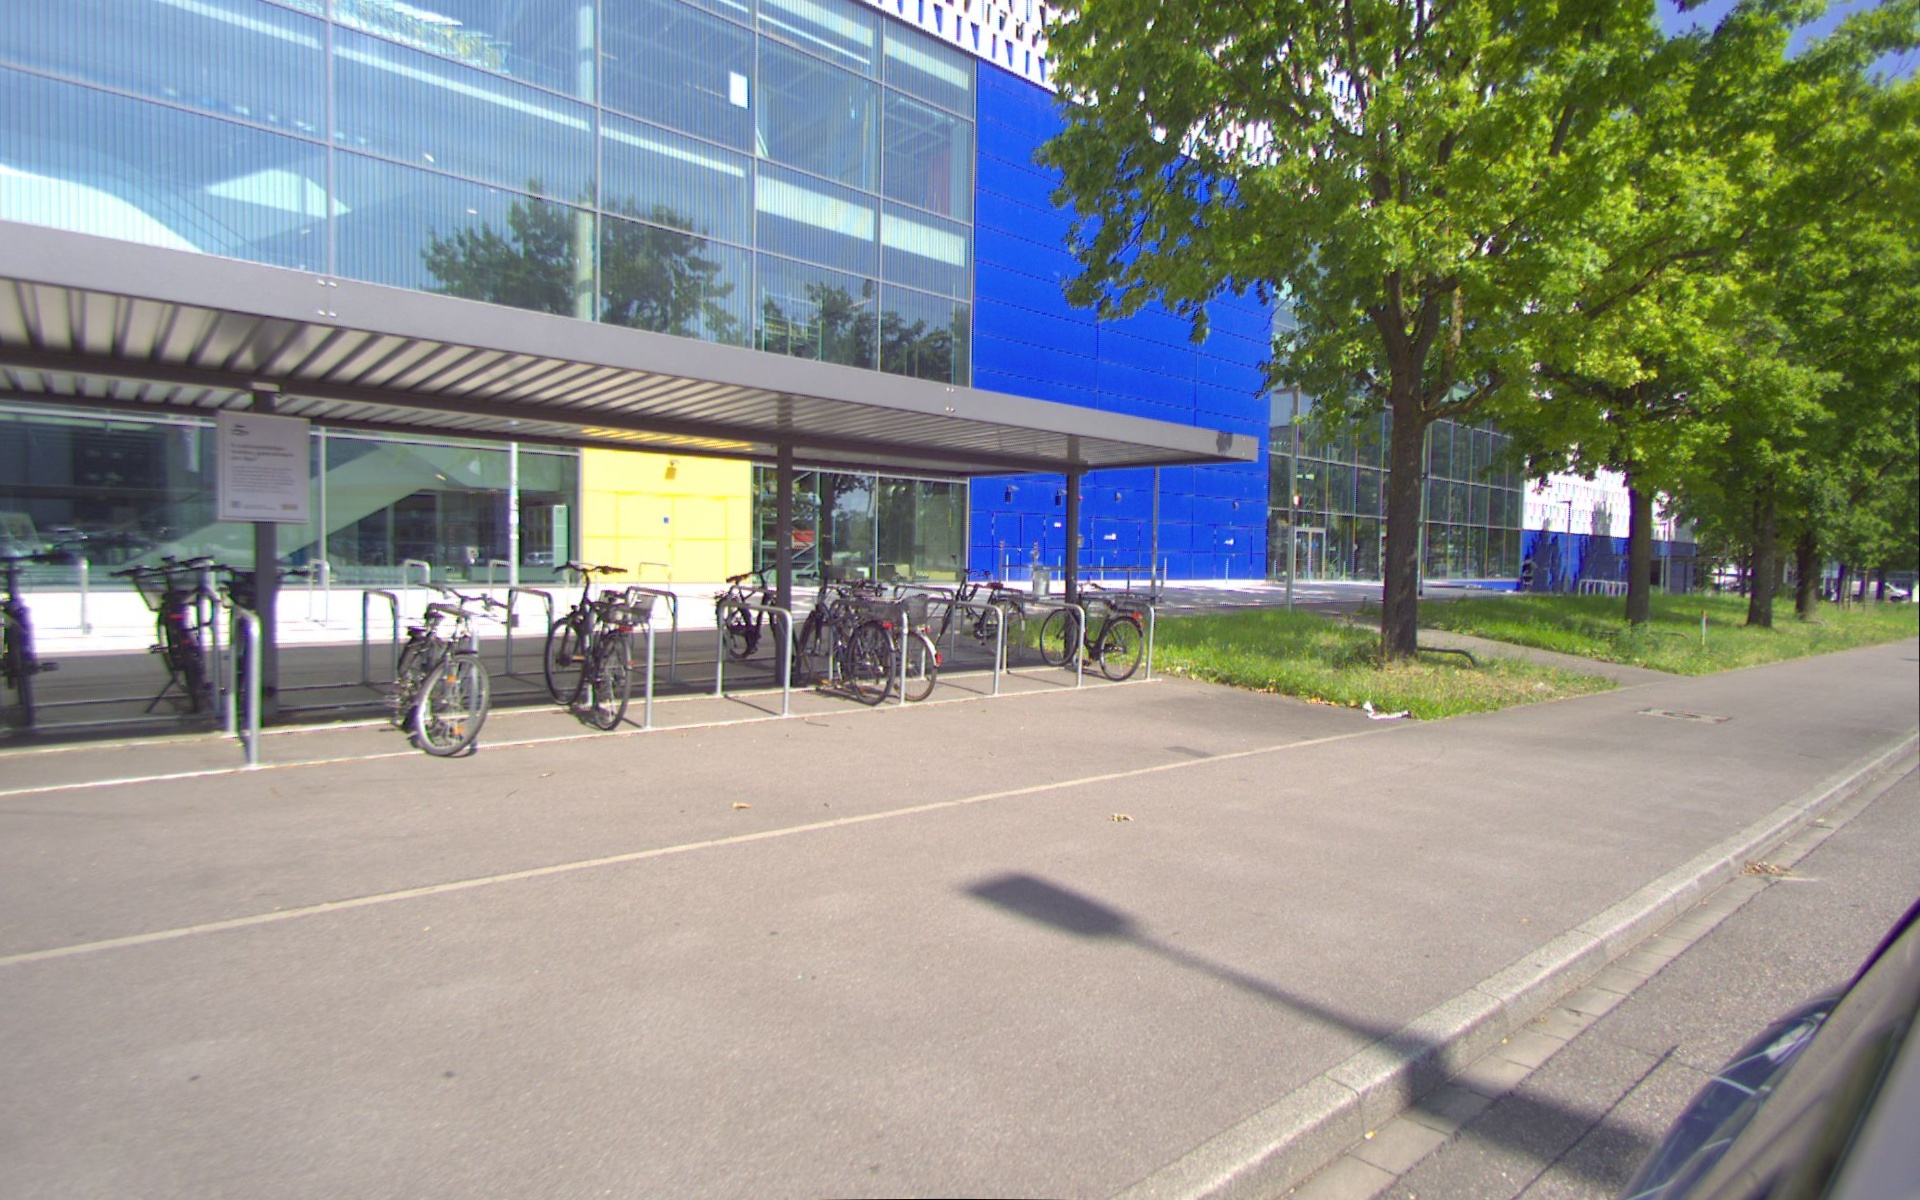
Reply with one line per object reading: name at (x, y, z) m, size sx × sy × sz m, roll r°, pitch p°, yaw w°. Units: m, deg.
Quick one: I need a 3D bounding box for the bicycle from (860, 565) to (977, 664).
bicycle at (-0.547, 0.148, 12.563) m, size 0.444 × 1.109 × 1.763 m, roll 0°, pitch 2°, yaw -39°

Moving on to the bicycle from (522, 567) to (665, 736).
bicycle at (-2.834, 0.328, 7.715) m, size 0.444 × 1.109 × 1.763 m, roll 0°, pitch 2°, yaw -39°

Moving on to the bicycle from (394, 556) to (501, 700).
bicycle at (-4.481, 0.193, 8.793) m, size 0.444 × 1.109 × 1.763 m, roll 0°, pitch 2°, yaw -39°

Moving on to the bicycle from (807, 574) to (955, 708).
bicycle at (-0.791, 0.336, 9.607) m, size 0.444 × 1.109 × 1.763 m, roll 0°, pitch 2°, yaw -39°

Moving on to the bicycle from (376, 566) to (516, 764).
bicycle at (-3.456, 0.359, 6.728) m, size 0.444 × 1.109 × 1.763 m, roll 0°, pitch 2°, yaw -39°

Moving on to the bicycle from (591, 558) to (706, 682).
bicycle at (-3.142, 0.156, 10.110) m, size 0.444 × 1.109 × 1.763 m, roll 0°, pitch 2°, yaw -39°

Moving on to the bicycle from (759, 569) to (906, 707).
bicycle at (-1.214, 0.296, 9.286) m, size 0.444 × 1.109 × 1.763 m, roll 0°, pitch 2°, yaw -39°

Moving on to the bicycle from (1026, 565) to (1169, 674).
bicycle at (1.537, 0.186, 11.605) m, size 0.444 × 1.109 × 1.763 m, roll 0°, pitch 3°, yaw -39°

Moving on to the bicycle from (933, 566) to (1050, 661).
bicycle at (0.375, 0.141, 13.088) m, size 0.444 × 1.109 × 1.763 m, roll 0°, pitch 2°, yaw -39°

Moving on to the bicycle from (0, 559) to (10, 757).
bicycle at (-5.343, 0.352, 5.276) m, size 0.444 × 1.109 × 1.763 m, roll 0°, pitch 2°, yaw -39°

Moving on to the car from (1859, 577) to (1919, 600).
car at (91.399, -1.136, 98.976) m, size 1.711 × 2.031 × 4.994 m, roll -2°, pitch 4°, yaw -41°

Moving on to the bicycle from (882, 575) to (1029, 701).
bicycle at (-0.087, 0.333, 10.186) m, size 0.444 × 1.109 × 1.763 m, roll 0°, pitch 2°, yaw -39°

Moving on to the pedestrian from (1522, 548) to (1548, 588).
pedestrian at (24.386, -1.362, 42.943) m, size 0.758 × 1.631 × 0.689 m, roll 0°, pitch 3°, yaw -44°

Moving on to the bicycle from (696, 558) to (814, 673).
bicycle at (-2.236, 0.128, 10.890) m, size 0.444 × 1.109 × 1.763 m, roll 0°, pitch 2°, yaw -39°

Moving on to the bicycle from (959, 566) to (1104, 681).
bicycle at (0.740, 0.214, 11.030) m, size 0.455 × 1.109 × 1.763 m, roll 0°, pitch 2°, yaw -39°

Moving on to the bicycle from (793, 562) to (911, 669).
bicycle at (-1.292, 0.142, 11.752) m, size 0.444 × 1.109 × 1.763 m, roll 0°, pitch 2°, yaw -39°

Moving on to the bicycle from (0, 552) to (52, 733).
bicycle at (-6.656, 0.237, 7.021) m, size 0.444 × 1.109 × 1.833 m, roll 0°, pitch 2°, yaw -39°

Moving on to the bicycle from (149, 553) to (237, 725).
bicycle at (-5.724, 0.229, 7.522) m, size 0.444 × 1.109 × 1.763 m, roll 0°, pitch 2°, yaw -39°
